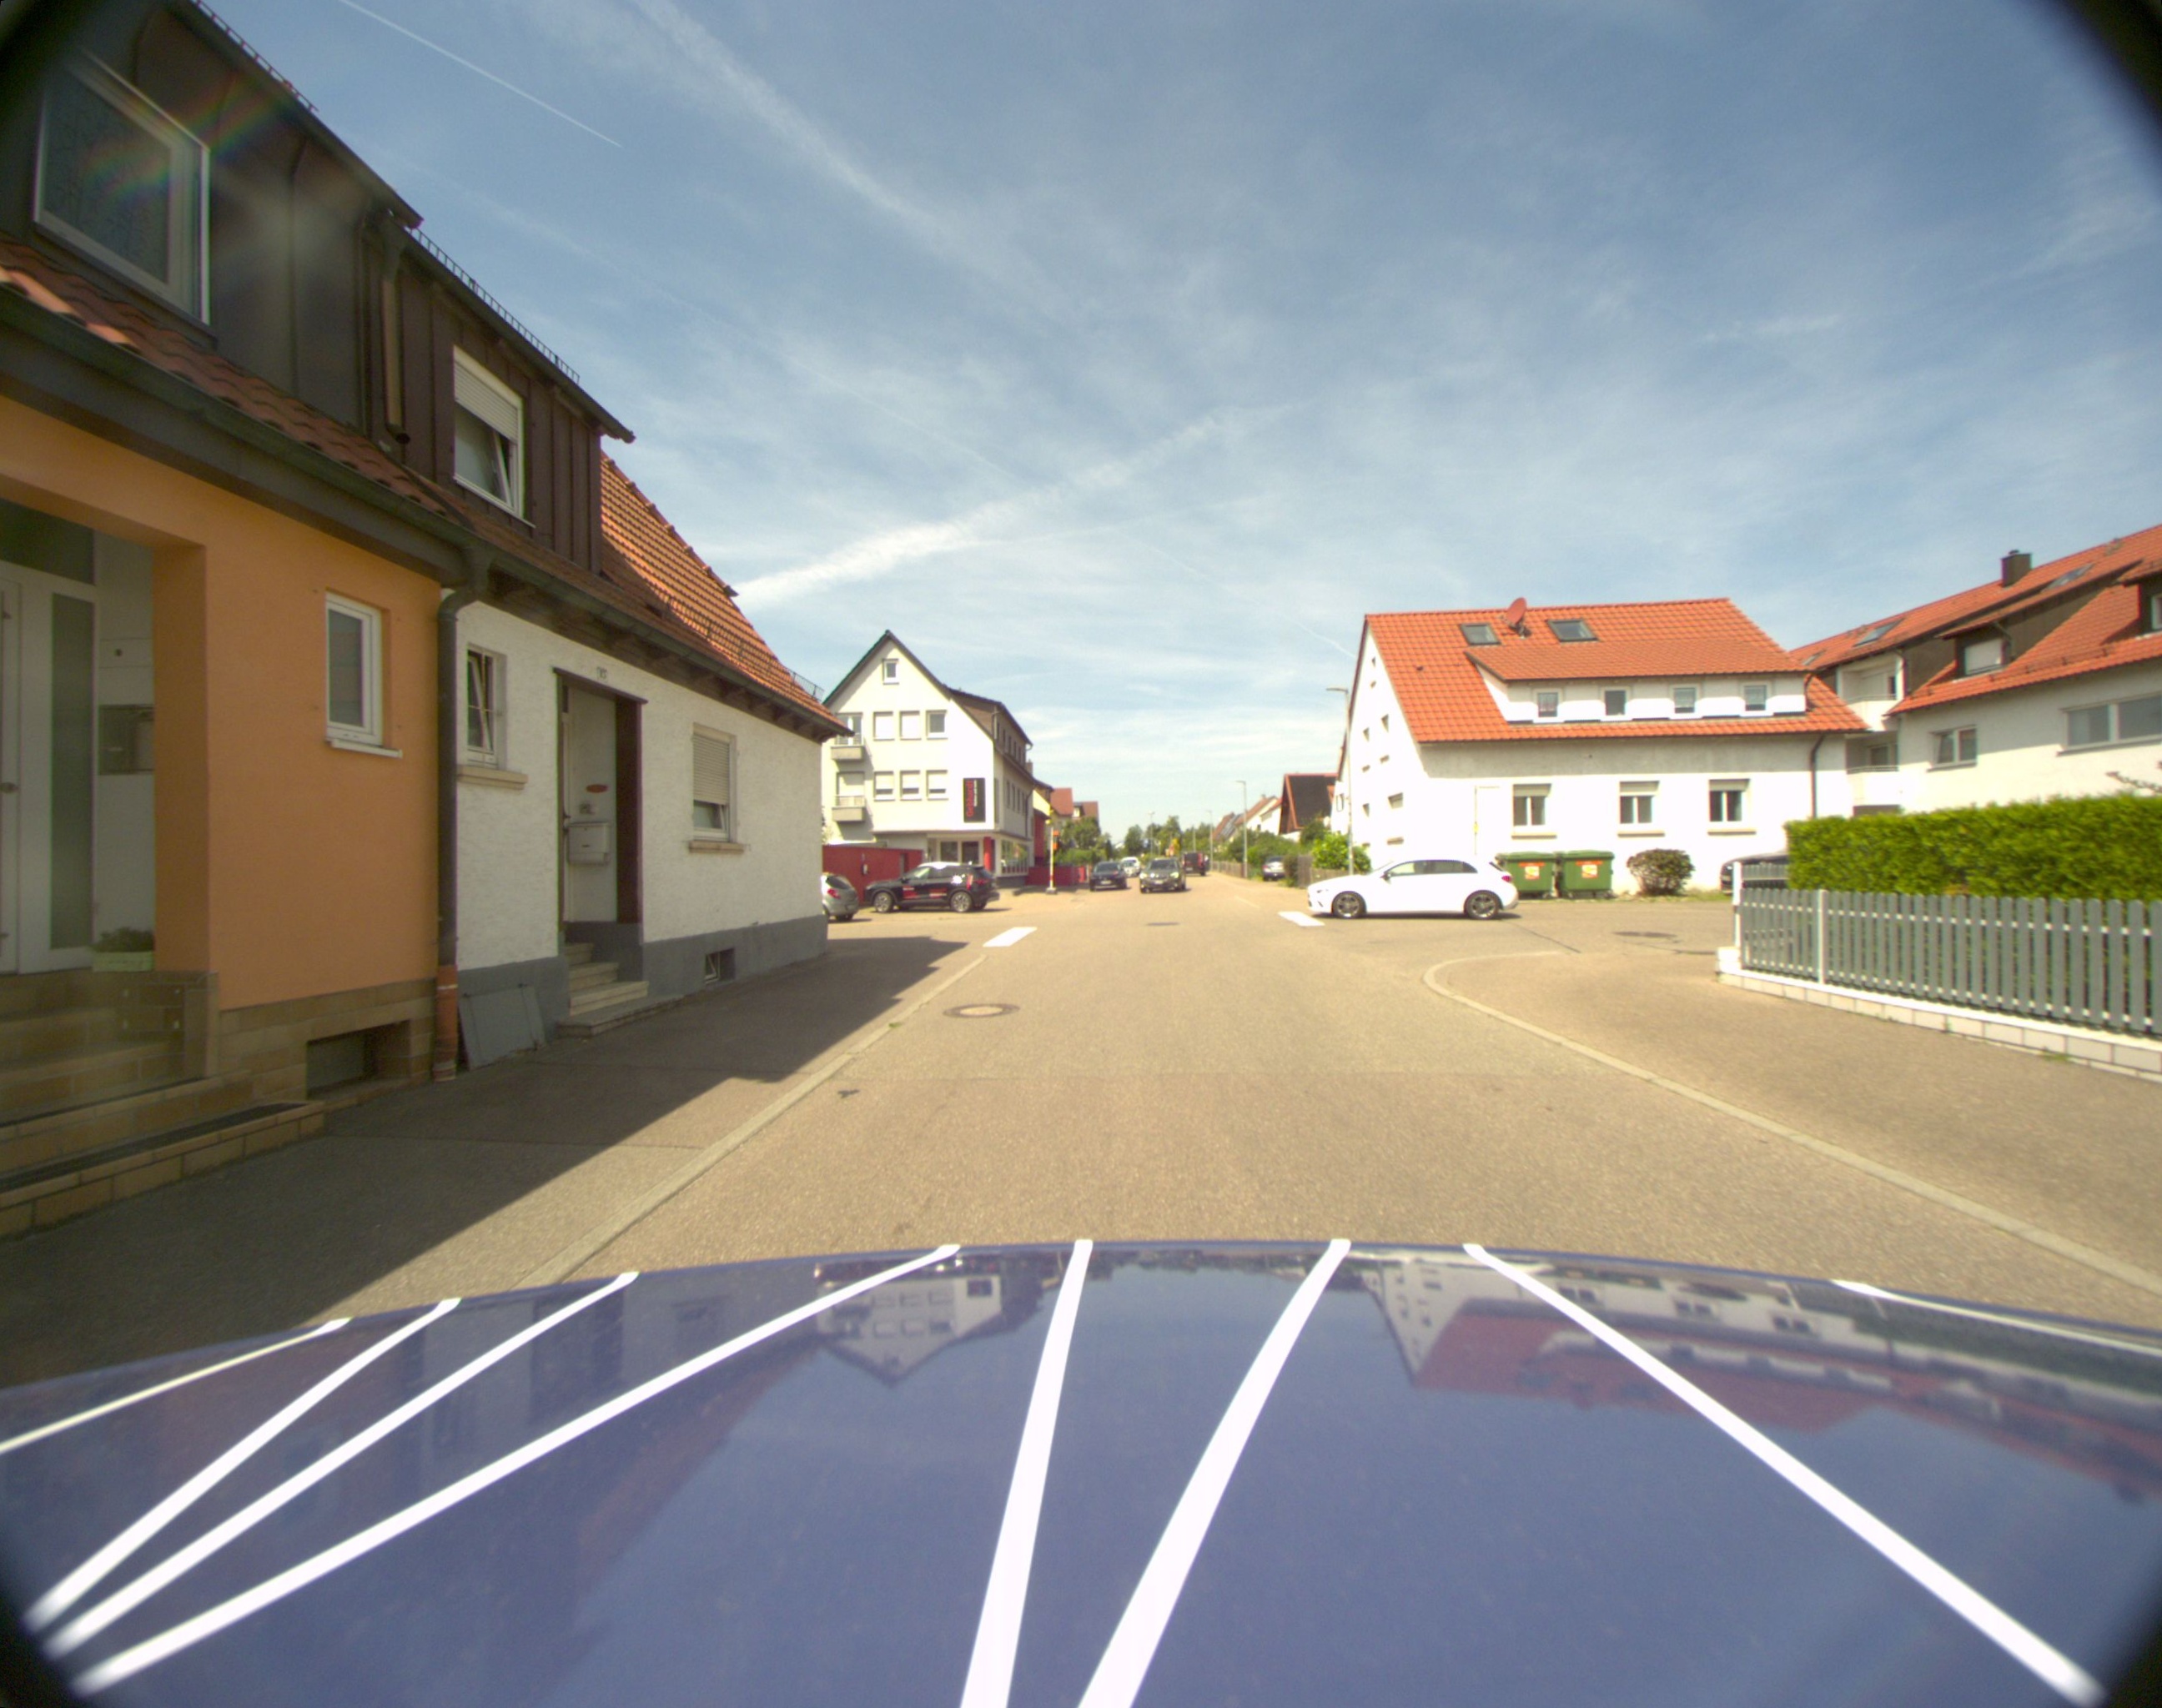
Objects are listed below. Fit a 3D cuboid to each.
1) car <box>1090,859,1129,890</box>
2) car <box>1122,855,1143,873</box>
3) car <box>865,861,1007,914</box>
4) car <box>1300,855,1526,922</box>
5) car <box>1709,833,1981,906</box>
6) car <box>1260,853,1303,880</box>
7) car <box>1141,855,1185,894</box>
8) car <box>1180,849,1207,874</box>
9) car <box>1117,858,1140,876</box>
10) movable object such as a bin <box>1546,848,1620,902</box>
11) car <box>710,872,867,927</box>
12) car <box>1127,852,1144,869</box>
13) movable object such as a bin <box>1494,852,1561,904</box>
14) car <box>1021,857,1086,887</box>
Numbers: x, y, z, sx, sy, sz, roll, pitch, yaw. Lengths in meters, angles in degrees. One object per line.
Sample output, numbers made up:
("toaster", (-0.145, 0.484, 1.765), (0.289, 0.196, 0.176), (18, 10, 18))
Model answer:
("car", (1.591, 1.066, 40.917), (1.765, 1.518, 4.408), (-3, 0, 6))
("car", (4.926, 0.931, 72.315), (1.739, 1.652, 4.339), (-3, 0, 6))
("car", (-4.881, 1.121, 25.815), (4.301, 1.643, 1.849), (-2, 0, 11))
("car", (7.434, 0.774, 17.458), (4.485, 1.390, 1.932), (-2, 0, 19))
("car", (18.193, 0.376, 18.398), (4.268, 1.539, 1.792), (-1, 3, 22))
("car", (11.745, 0.690, 44.346), (1.829, 1.423, 4.570), (-2, 0, 22))
("car", (3.875, 0.884, 35.341), (1.837, 1.637, 4.326), (-2, 0, 8))
("car", (9.272, 0.581, 63.108), (1.972, 1.940, 4.698), (-1, 0, 6))
("car", (4.154, 1.092, 65.882), (1.755, 1.412, 4.422), (-3, 0, 5))
("movable object such as a bin", (13.366, 0.544, 20.284), (1.264, 1.328, 1.314), (-2, 1, 14))
("car", (-8.559, 1.312, 22.330), (3.993, 1.495, 1.696), (-1, -1, 11))
("car", (6.017, 0.724, 84.217), (1.669, 1.739, 4.057), (-3, 0, 6))
("movable object such as a bin", (12.026, 0.642, 20.532), (1.264, 1.306, 1.167), (-2, 1, 14))
("car", (-1.961, 1.278, 55.235), (4.377, 1.658, 1.877), (-7, 0, 4))
